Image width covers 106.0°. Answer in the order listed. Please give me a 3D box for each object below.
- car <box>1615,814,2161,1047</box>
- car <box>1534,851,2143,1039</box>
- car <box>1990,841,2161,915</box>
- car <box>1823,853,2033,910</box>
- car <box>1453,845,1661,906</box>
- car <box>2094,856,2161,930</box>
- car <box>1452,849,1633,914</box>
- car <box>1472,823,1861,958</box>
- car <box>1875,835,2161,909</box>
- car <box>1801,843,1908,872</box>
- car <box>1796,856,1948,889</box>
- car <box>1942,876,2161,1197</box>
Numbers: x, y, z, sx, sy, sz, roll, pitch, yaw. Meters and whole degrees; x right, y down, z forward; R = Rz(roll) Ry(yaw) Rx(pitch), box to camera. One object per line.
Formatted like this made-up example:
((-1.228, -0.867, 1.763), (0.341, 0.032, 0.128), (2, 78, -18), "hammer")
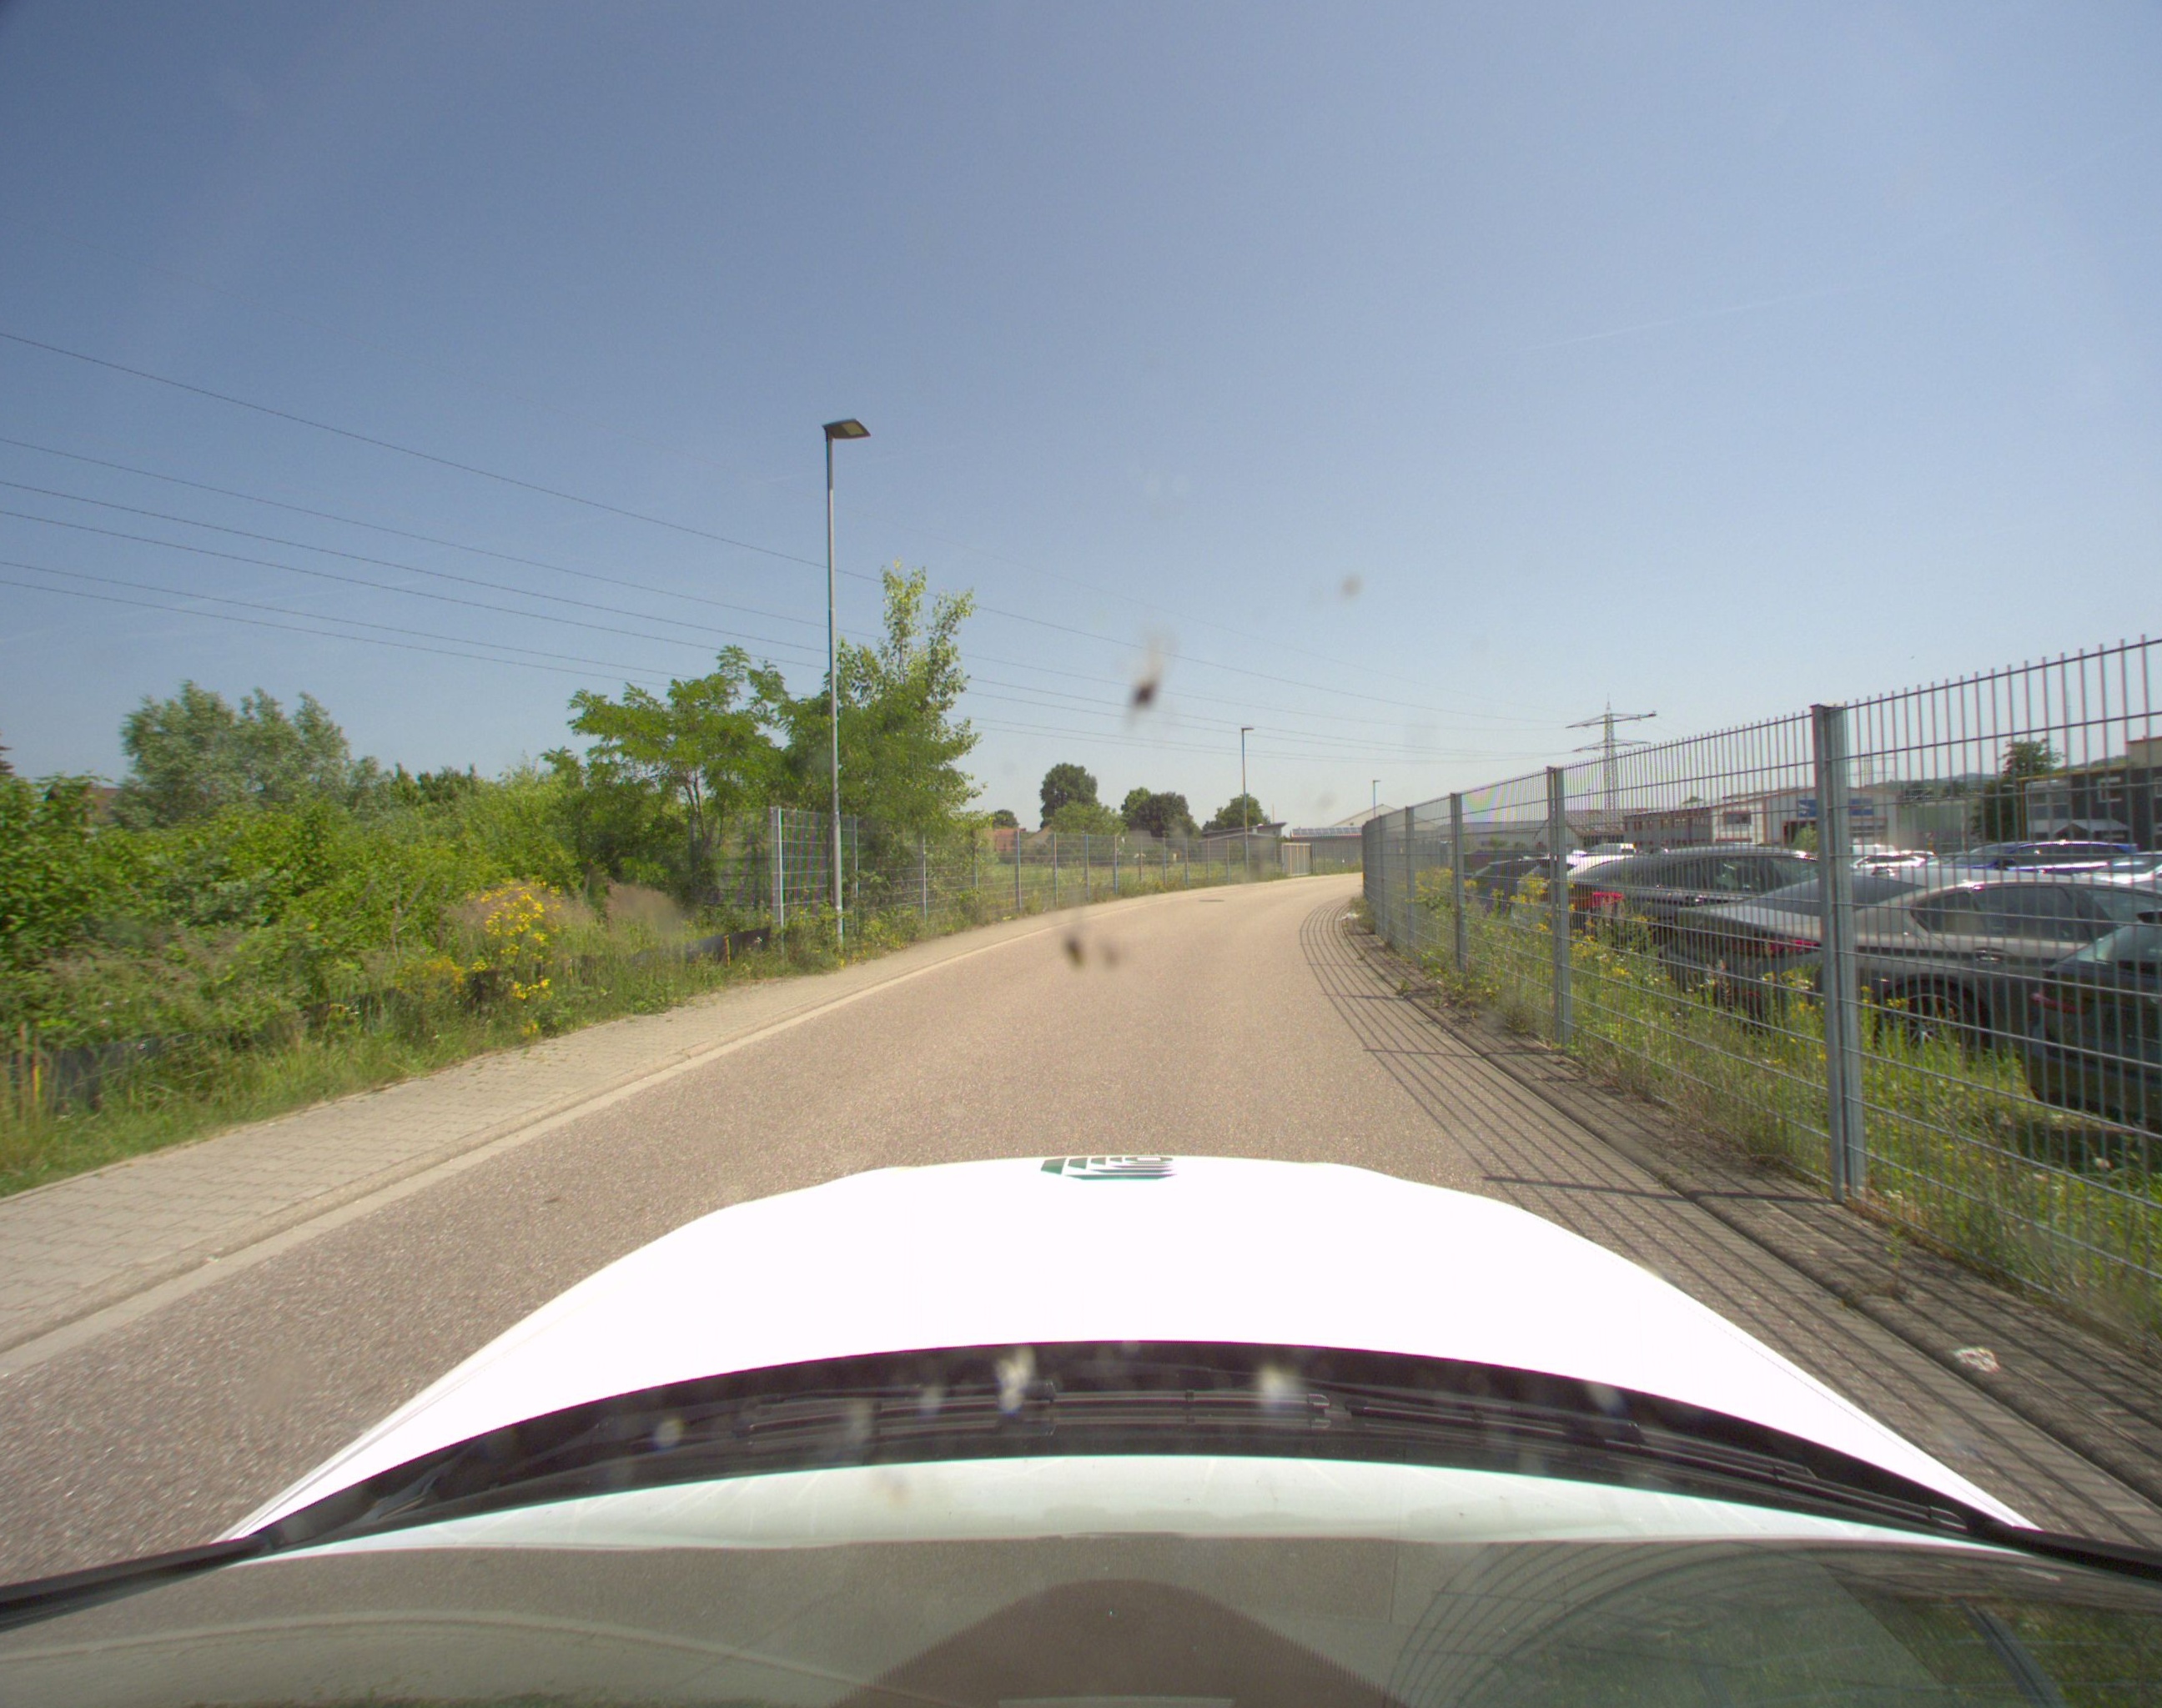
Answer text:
((7.128, 0.524, 6.490), (4.437, 1.582, 1.803), (-2, 0, 13), "car")
((7.558, 0.876, 8.707), (4.434, 1.669, 1.731), (-2, 0, 16), "car")
((22.291, 0.478, 17.269), (3.733, 1.437, 1.618), (-2, 0, 14), "car")
((23.404, 0.764, 22.655), (3.733, 1.437, 1.618), (-2, 0, 14), "car")
((11.607, 0.543, 20.183), (4.241, 1.378, 1.775), (-2, 0, 26), "car")
((21.731, 0.679, 14.929), (3.733, 1.301, 1.618), (-2, 0, 14), "car")
((12.889, 0.761, 22.851), (4.239, 1.637, 1.776), (-2, 0, 33), "car")
((7.949, 0.511, 11.522), (4.089, 1.669, 1.731), (-2, 0, 16), "car")
((22.940, 0.438, 20.064), (4.425, 1.649, 1.887), (-2, 0, 19), "car")
((52.920, 0.255, 55.809), (5.022, 1.899, 1.865), (-1, -1, 15), "car")
((33.990, 0.788, 35.137), (4.475, 1.351, 1.633), (-1, -1, 15), "car")
((7.054, 0.778, 3.537), (4.444, 1.381, 1.727), (-2, 0, 8), "car")
